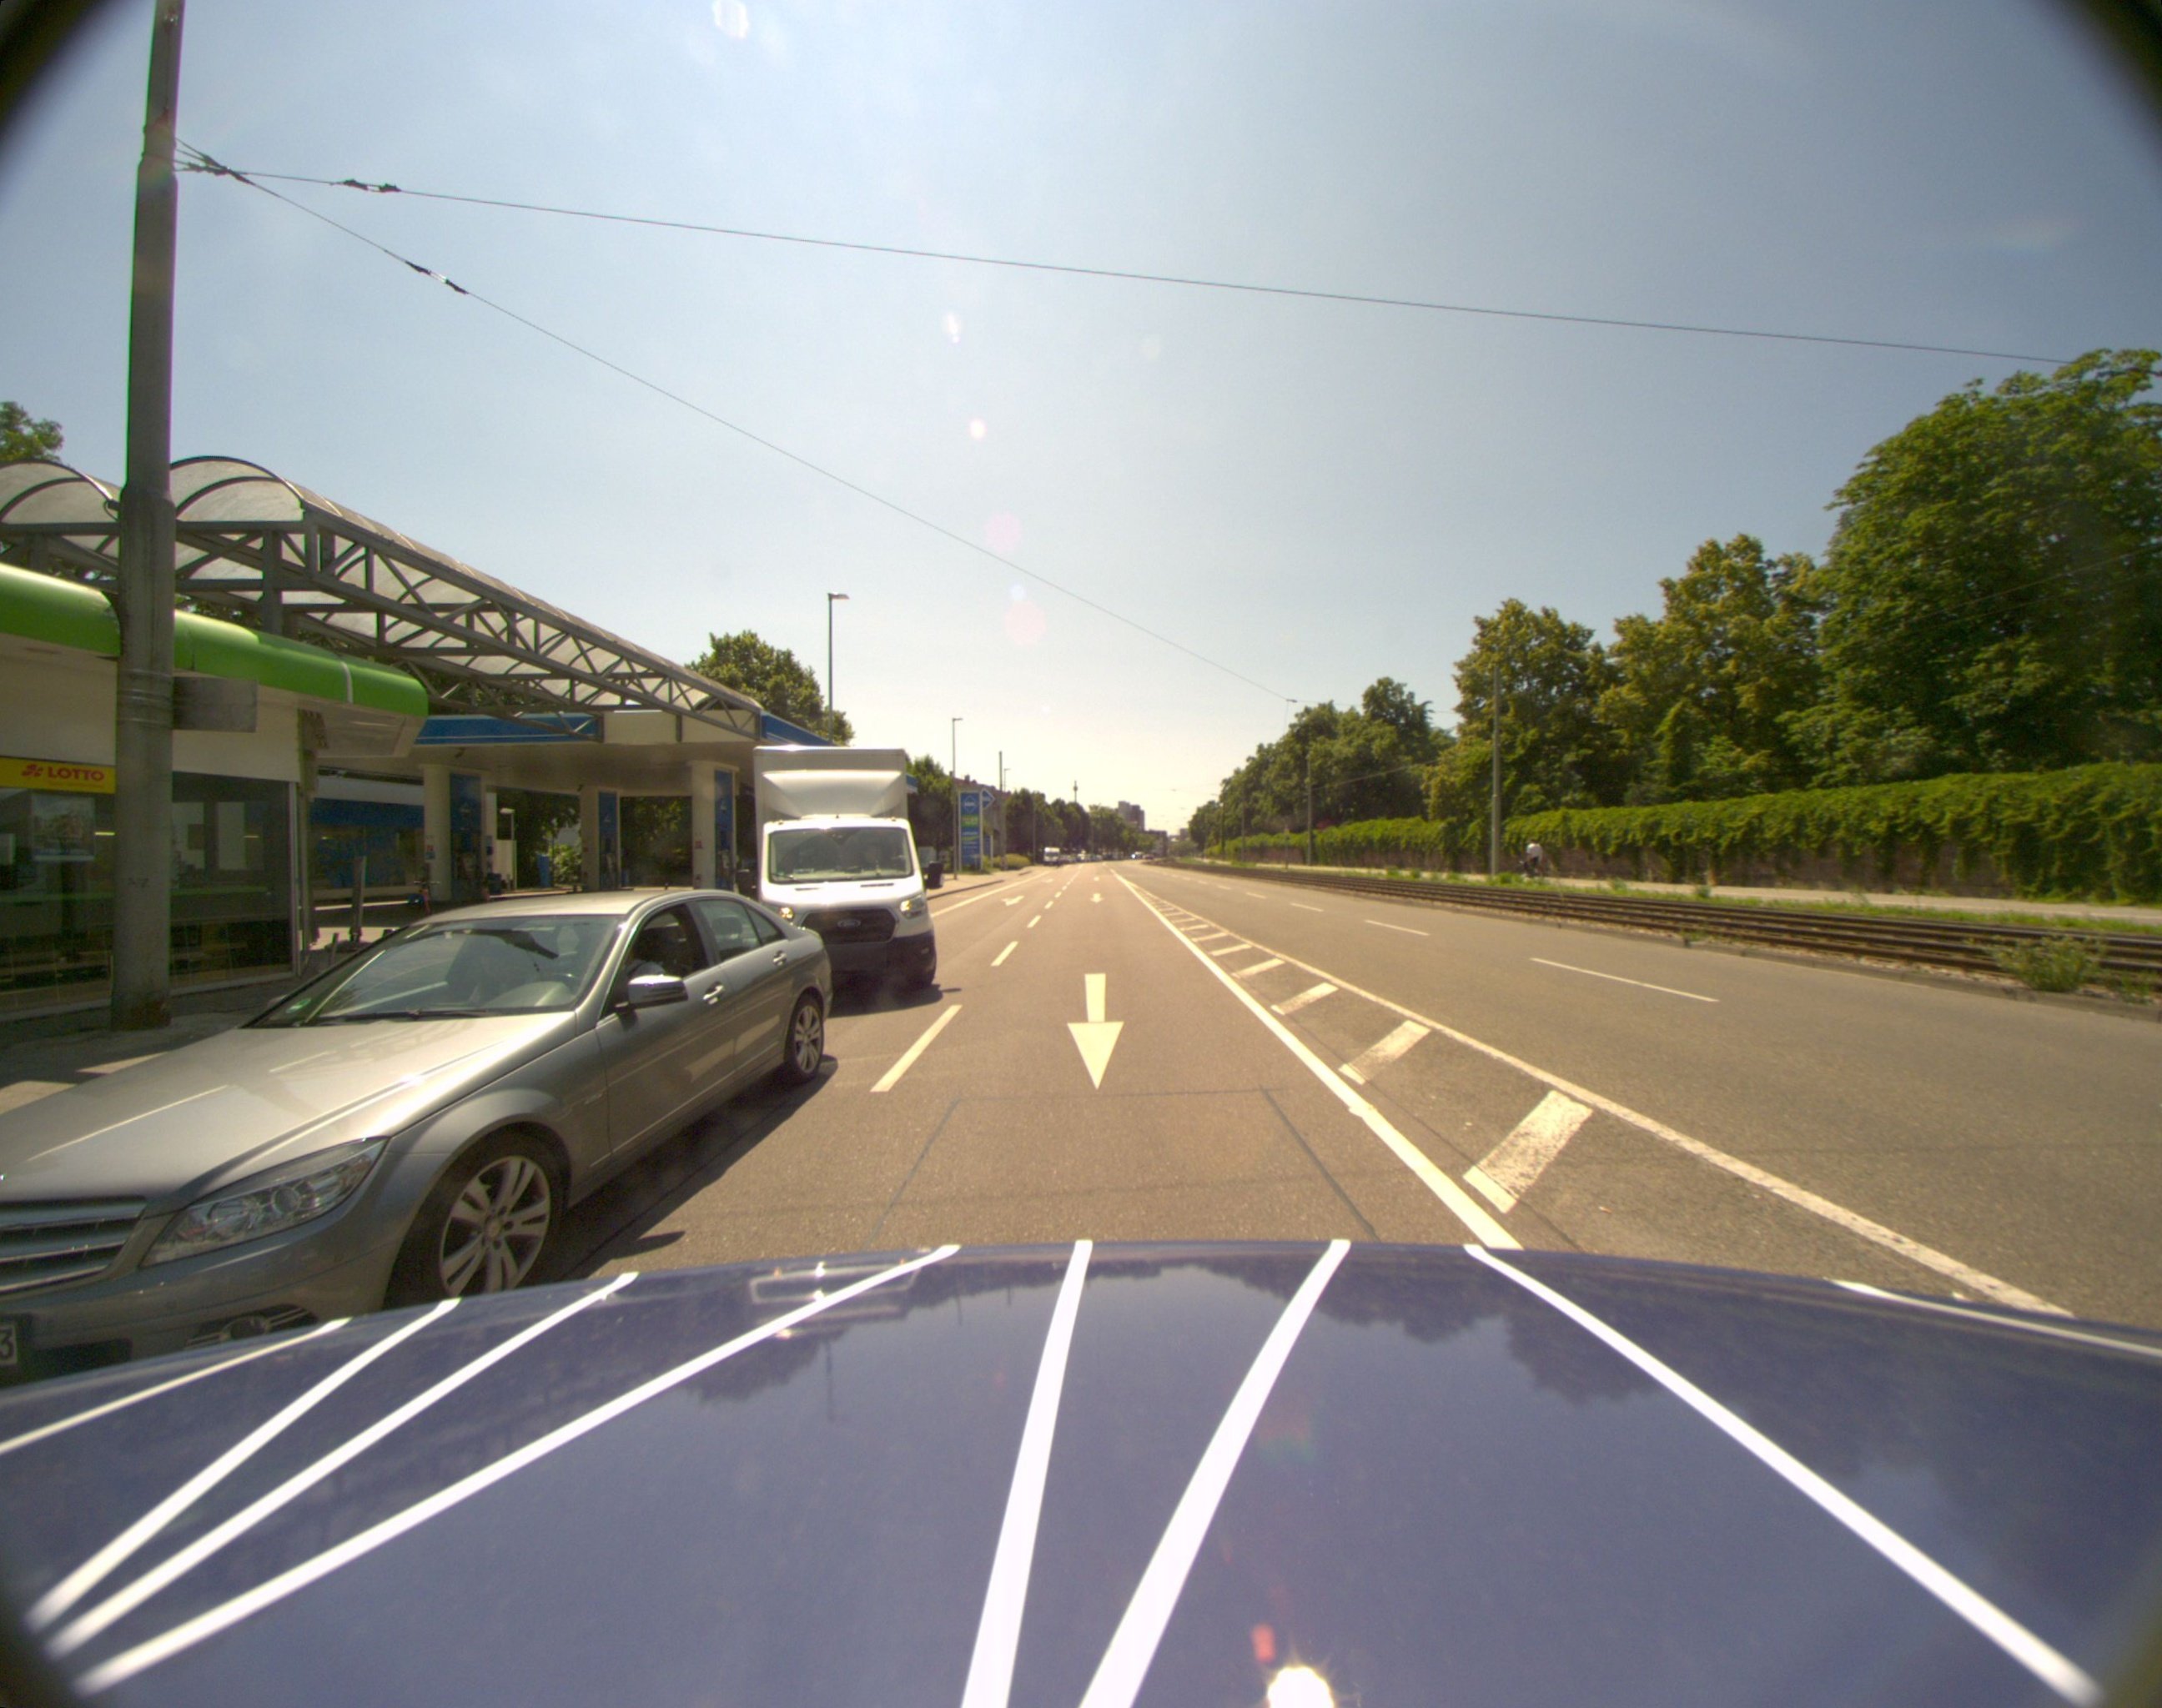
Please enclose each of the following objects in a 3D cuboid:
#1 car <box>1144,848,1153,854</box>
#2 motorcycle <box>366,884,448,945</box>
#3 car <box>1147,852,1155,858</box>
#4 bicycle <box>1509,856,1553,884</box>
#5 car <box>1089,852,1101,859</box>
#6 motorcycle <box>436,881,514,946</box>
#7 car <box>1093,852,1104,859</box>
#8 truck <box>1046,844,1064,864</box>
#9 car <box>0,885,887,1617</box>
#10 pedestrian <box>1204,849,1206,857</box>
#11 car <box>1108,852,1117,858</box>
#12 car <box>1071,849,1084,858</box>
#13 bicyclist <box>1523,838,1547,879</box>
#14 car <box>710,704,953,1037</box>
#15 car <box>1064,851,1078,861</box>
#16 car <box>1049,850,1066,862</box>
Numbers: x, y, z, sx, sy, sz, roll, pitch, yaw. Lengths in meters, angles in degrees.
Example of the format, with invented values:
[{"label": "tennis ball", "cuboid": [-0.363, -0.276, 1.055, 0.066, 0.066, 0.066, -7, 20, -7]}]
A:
[{"label": "car", "cuboid": [22.854, -0.996, 257.153, 1.945, 1.674, 4.004, -2, 1, 16]}, {"label": "motorcycle", "cuboid": [-12.844, 1.142, 14.493, 1.157, 1.107, 0.396, 1, -1, -1]}, {"label": "car", "cuboid": [18.376, 0.234, 199.183, 1.800, 1.488, 3.967, -2, 0, 12]}, {"label": "bicycle", "cuboid": [18.358, 0.643, 31.052, 0.617, 1.049, 1.978, -2, 1, 1]}, {"label": "car", "cuboid": [3.163, 0.388, 171.977, 1.911, 1.488, 4.002, -2, 1, 10]}, {"label": "motorcycle", "cuboid": [-11.583, 1.129, 14.541, 1.157, 1.203, 0.364, 1, -1, -1]}, {"label": "car", "cuboid": [4.043, 0.298, 177.041, 1.911, 1.488, 4.002, -2, 1, 10]}, {"label": "truck", "cuboid": [-3.461, -0.019, 101.280, 1.998, 2.462, 5.237, -2, 1, 1]}, {"label": "car", "cuboid": [-2.788, 1.055, 4.411, 1.717, 1.464, 5.302, -3, 0, 2]}, {"label": "pedestrian", "cuboid": [24.951, -0.163, 152.985, 0.453, 1.655, 0.302, -2, 0, 1]}, {"label": "car", "cuboid": [8.343, 0.334, 203.137, 1.911, 1.488, 4.002, -2, 1, 10]}, {"label": "car", "cuboid": [-0.635, -0.051, 139.239, 1.912, 1.488, 4.001, -2, 1, 4]}, {"label": "bicyclist", "cuboid": [18.332, 0.185, 30.690, 0.483, 1.603, 0.769, -2, 1, 1]}, {"label": "car", "cuboid": [-3.929, 0.143, 12.005, 2.232, 3.316, 8.622, -3, 1, -19]}, {"label": "car", "cuboid": [-1.662, 0.281, 126.598, 1.912, 1.488, 4.001, -2, 1, 4]}, {"label": "car", "cuboid": [-3.345, 0.296, 108.782, 1.912, 1.488, 4.001, -2, 1, 4]}]
